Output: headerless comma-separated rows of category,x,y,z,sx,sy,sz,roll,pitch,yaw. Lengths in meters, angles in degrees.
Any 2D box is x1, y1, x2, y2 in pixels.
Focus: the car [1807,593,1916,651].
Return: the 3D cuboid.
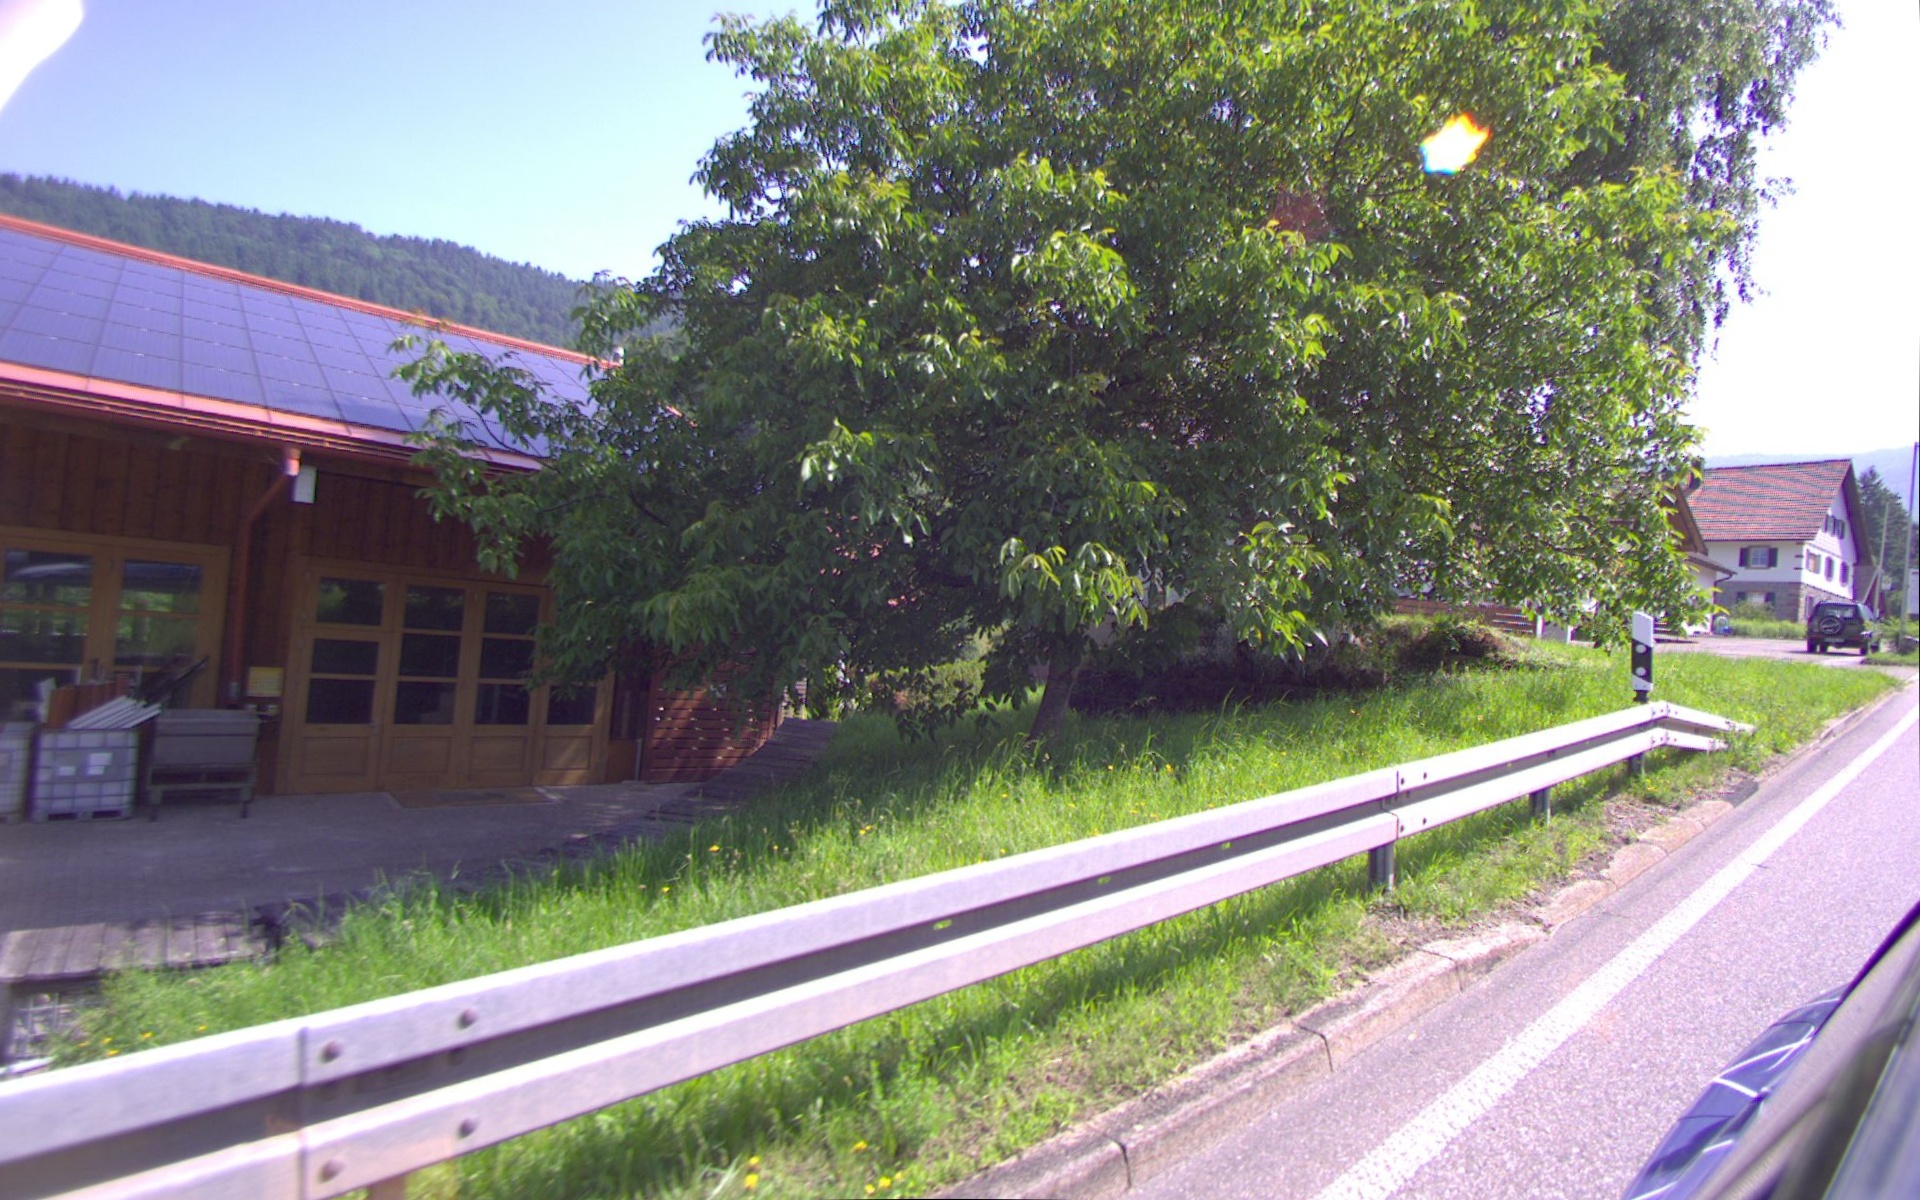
car,31.784,0.782,35.651,4.574,1.835,1.815,2,2,-36
